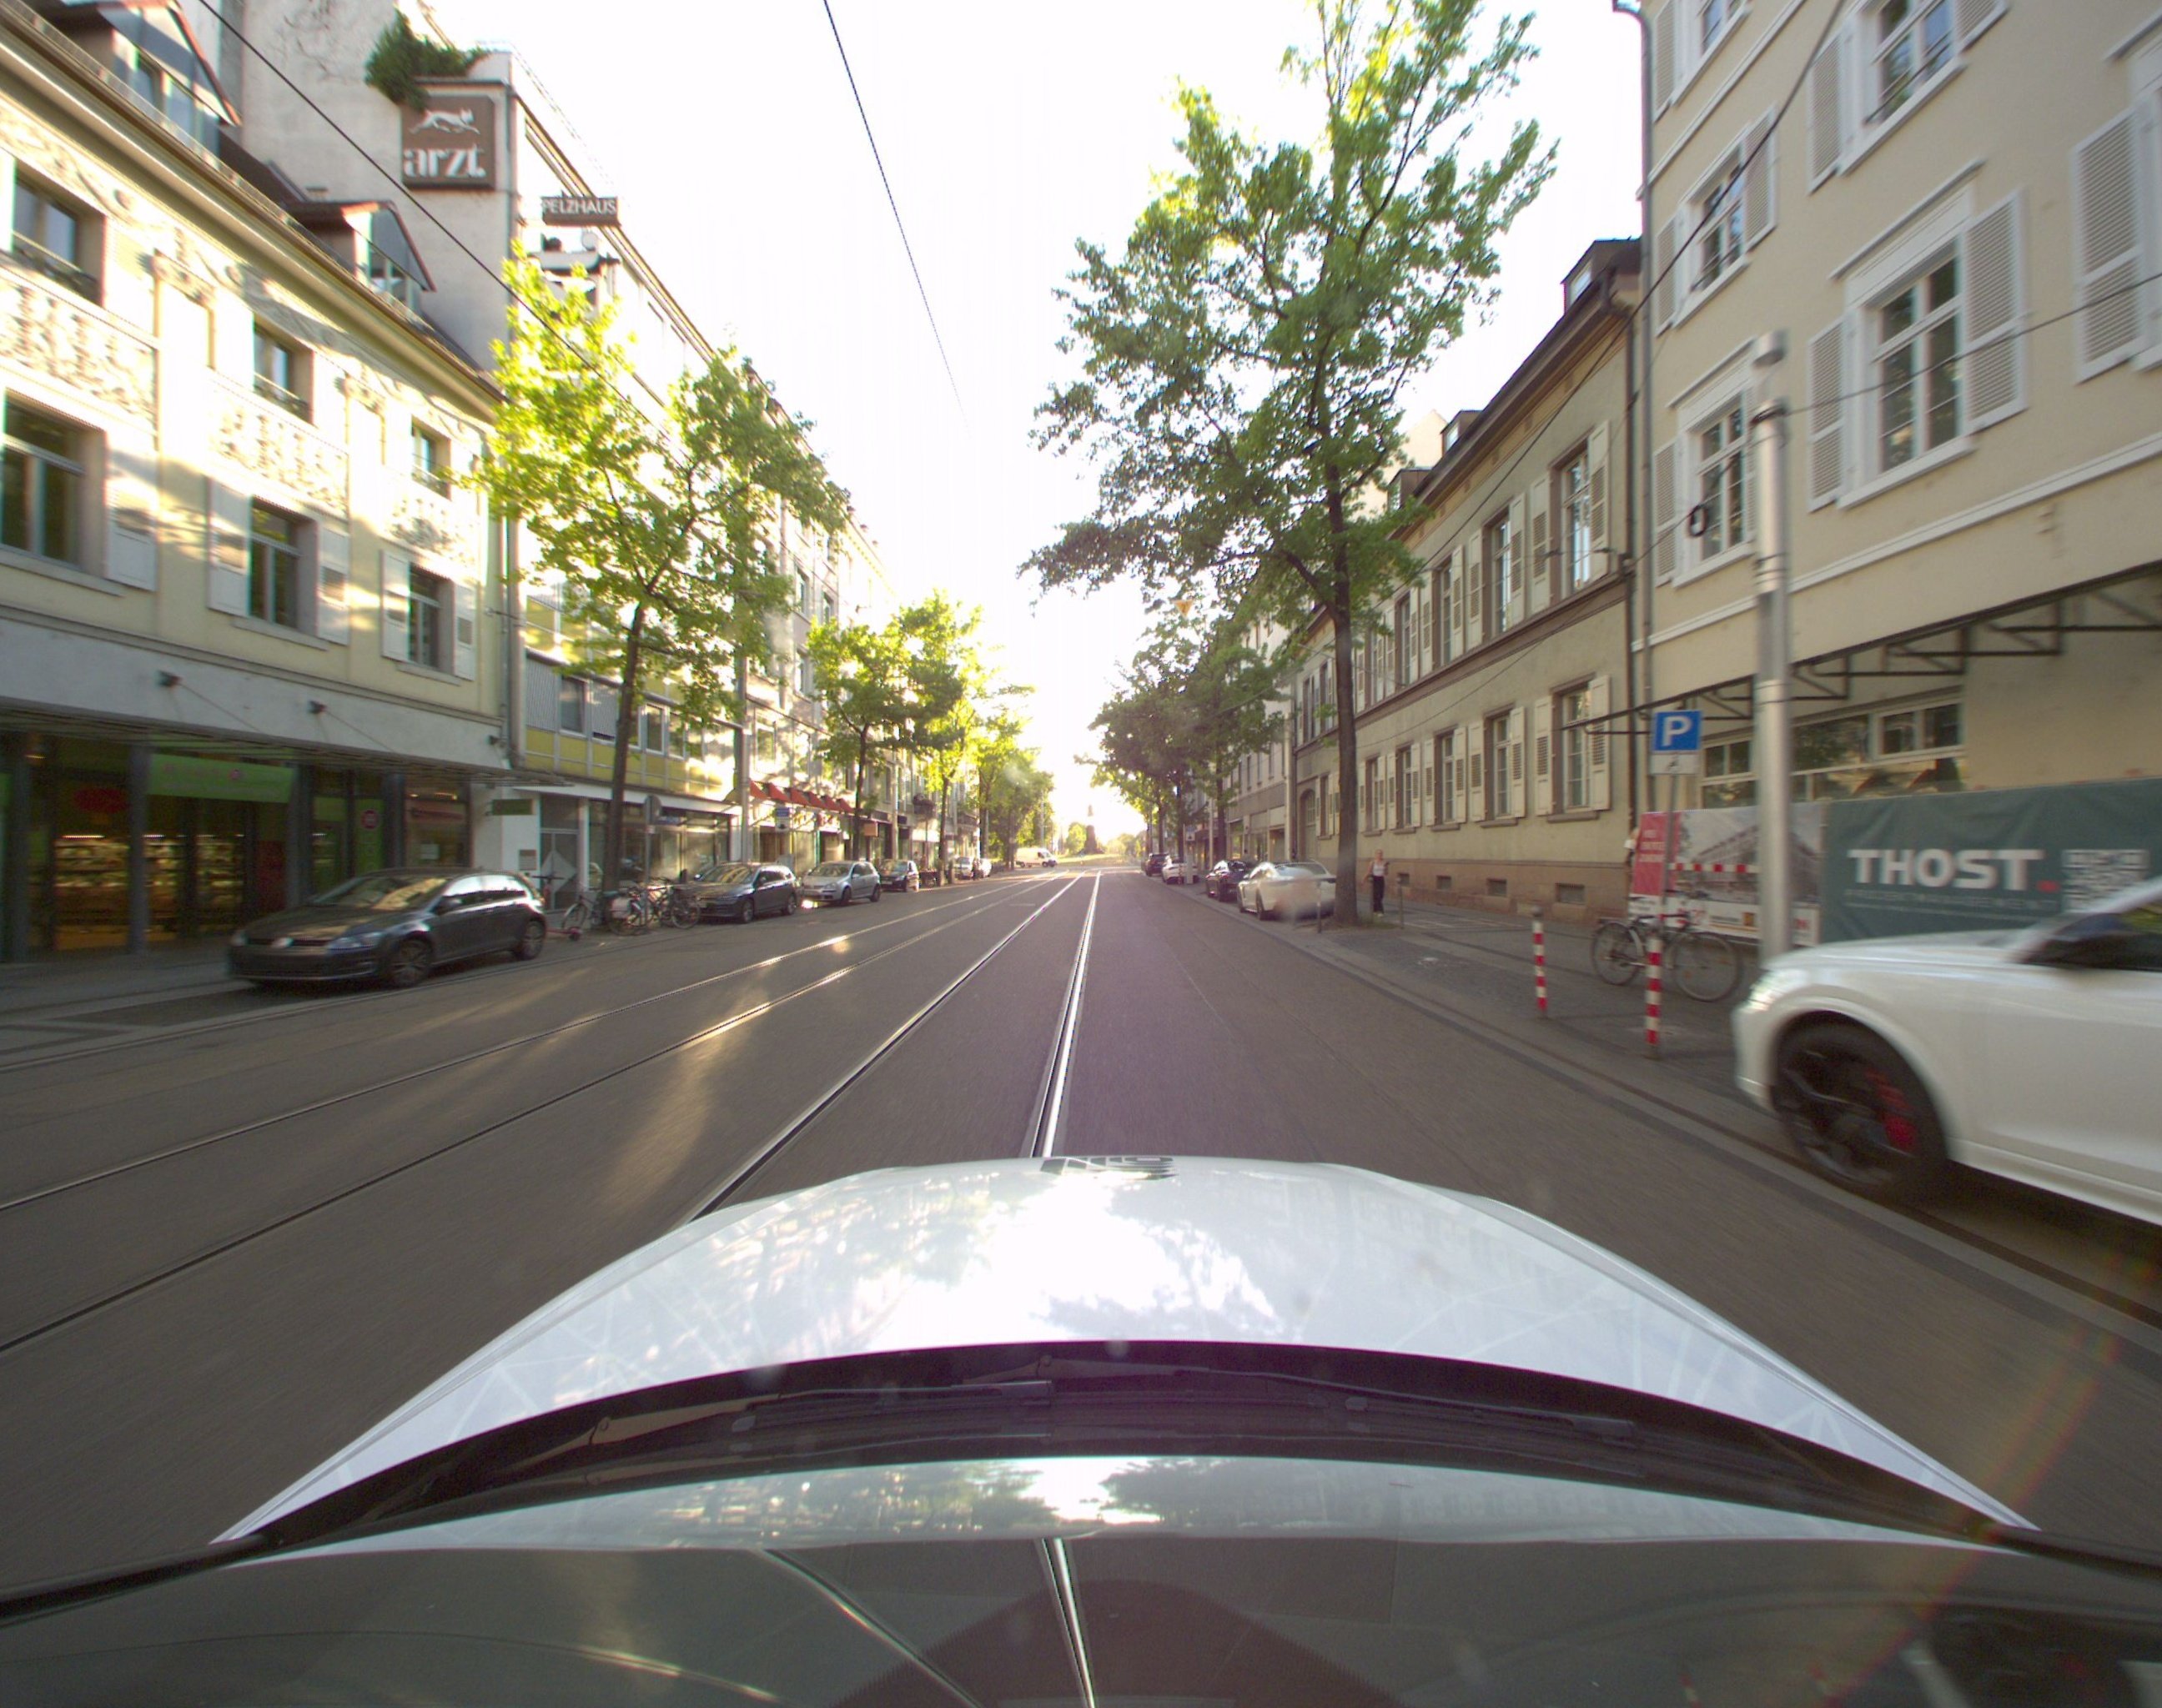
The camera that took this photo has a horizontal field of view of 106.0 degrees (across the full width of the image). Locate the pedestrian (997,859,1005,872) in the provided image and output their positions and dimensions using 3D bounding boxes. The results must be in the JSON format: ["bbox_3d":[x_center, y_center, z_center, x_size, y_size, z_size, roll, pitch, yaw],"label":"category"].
[{"bbox_3d":[-7.972,1.150,81.367,0.726,1.290,0.856,0,0,-1],"label":"pedestrian"}]

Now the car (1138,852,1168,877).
[{"bbox_3d":[5.627,0.799,64.279,1.931,1.759,4.681,-4,0,1],"label":"car"}]

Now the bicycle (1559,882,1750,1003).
[{"bbox_3d":[6.094,0.880,8.810,0.417,1.100,1.982,-2,0,-8],"label":"bicycle"}]

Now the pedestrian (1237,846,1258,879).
[{"bbox_3d":[9.162,0.470,44.786,0.855,1.753,0.933,-4,0,1],"label":"pedestrian"}]

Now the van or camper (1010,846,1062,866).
[{"bbox_3d":[-5.941,0.284,106.568,6.241,2.472,2.631,-1,0,26],"label":"van or camper"}]

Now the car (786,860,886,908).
[{"bbox_3d":[-8.264,0.971,27.835,1.758,1.497,4.182,0,-1,6],"label":"car"}]

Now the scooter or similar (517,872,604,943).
[{"bbox_3d":[-9.794,0.991,15.330,1.412,1.270,0.375,1,0,5],"label":"scooter or similar"}]

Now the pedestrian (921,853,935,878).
[{"bbox_3d":[-10.679,0.791,56.831,0.719,1.760,1.090,0,0,1],"label":"pedestrian"}]

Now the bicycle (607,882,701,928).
[{"bbox_3d":[-9.591,1.144,18.300,1.962,1.001,0.331,-1,0,3],"label":"bicycle"}]

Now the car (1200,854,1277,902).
[{"bbox_3d":[5.503,0.787,29.079,1.826,1.478,4.762,-3,0,1],"label":"car"}]

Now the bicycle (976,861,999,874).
[{"bbox_3d":[-8.447,1.227,73.610,2.032,1.105,0.497,2,-1,-24],"label":"bicycle"}]

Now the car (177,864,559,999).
[{"bbox_3d":[-9.461,0.914,11.390,1.789,1.490,4.235,1,0,-5],"label":"car"}]

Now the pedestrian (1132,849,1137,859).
[{"bbox_3d":[8.697,-0.068,132.330,0.634,1.606,0.771,-1,0,-1],"label":"pedestrian"}]

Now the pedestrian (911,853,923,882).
[{"bbox_3d":[-11.456,0.930,56.850,0.719,2.013,0.643,0,0,1],"label":"pedestrian"}]

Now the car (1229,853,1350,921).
[{"bbox_3d":[5.134,0.745,20.726,1.905,1.420,4.890,-3,0,2],"label":"car"}]

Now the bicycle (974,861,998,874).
[{"bbox_3d":[-8.494,1.228,72.974,2.032,1.105,0.497,2,-1,-24],"label":"bicycle"}]

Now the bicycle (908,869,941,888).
[{"bbox_3d":[-8.210,1.267,42.693,1.607,0.965,0.433,1,0,6],"label":"bicycle"}]

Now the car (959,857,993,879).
[{"bbox_3d":[-8.132,1.055,63.436,1.829,1.580,4.704,3,0,2],"label":"car"}]

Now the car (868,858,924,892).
[{"bbox_3d":[-8.630,0.960,38.301,1.660,1.428,3.828,2,0,1],"label":"car"}]

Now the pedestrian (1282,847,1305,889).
[{"bbox_3d":[8.825,0.583,33.798,0.655,1.665,0.888,-3,0,0],"label":"pedestrian"}]

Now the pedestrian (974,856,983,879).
[{"bbox_3d":[-7.010,0.900,55.859,0.519,1.569,0.634,-1,-1,2],"label":"pedestrian"}]

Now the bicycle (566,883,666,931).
[{"bbox_3d":[-9.978,1.131,17.477,1.961,1.001,0.420,-1,0,5],"label":"bicycle"}]

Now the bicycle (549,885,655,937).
[{"bbox_3d":[-9.528,1.125,16.218,1.962,1.001,0.331,-1,0,3],"label":"bicycle"}]

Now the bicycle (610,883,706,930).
[{"bbox_3d":[-9.301,1.141,17.909,1.962,1.001,0.331,-1,0,3],"label":"bicycle"}]

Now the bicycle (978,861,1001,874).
[{"bbox_3d":[-8.429,1.225,75.076,2.015,1.105,0.501,1,-1,3],"label":"bicycle"}]

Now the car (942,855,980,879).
[{"bbox_3d":[-8.514,0.880,58.089,1.829,1.580,4.118,3,0,2],"label":"car"}]

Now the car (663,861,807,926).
[{"bbox_3d":[-8.900,0.947,21.407,1.705,1.461,4.488,1,0,2],"label":"car"}]

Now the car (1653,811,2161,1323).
[{"bbox_3d":[4.536,0.657,2.446,1.992,1.688,4.964,-3,-1,-2],"label":"car"}]

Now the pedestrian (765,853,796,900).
[{"bbox_3d":[-10.951,0.814,29.693,0.841,1.693,0.740,-1,0,0],"label":"pedestrian"}]

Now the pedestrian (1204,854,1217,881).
[{"bbox_3d":[8.424,0.863,52.913,0.641,1.670,0.786,-4,0,1],"label":"pedestrian"}]

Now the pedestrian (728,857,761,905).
[{"bbox_3d":[-12.221,0.961,29.624,0.786,1.693,0.914,-1,0,0],"label":"pedestrian"}]

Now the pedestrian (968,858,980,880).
[{"bbox_3d":[-7.224,1.017,55.039,0.617,1.509,0.730,-1,-1,2],"label":"pedestrian"}]

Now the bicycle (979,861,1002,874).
[{"bbox_3d":[-8.284,1.225,74.487,2.015,1.105,0.501,1,-1,3],"label":"bicycle"}]

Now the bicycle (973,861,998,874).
[{"bbox_3d":[-8.489,1.188,72.385,2.118,1.105,0.497,2,-1,-24],"label":"bicycle"}]

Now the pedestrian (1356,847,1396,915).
[{"bbox_3d":[6.929,0.624,19.148,0.646,1.573,0.799,0,0,1],"label":"pedestrian"}]

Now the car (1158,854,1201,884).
[{"bbox_3d":[5.623,0.803,46.810,1.986,1.498,4.682,-4,0,2],"label":"car"}]
